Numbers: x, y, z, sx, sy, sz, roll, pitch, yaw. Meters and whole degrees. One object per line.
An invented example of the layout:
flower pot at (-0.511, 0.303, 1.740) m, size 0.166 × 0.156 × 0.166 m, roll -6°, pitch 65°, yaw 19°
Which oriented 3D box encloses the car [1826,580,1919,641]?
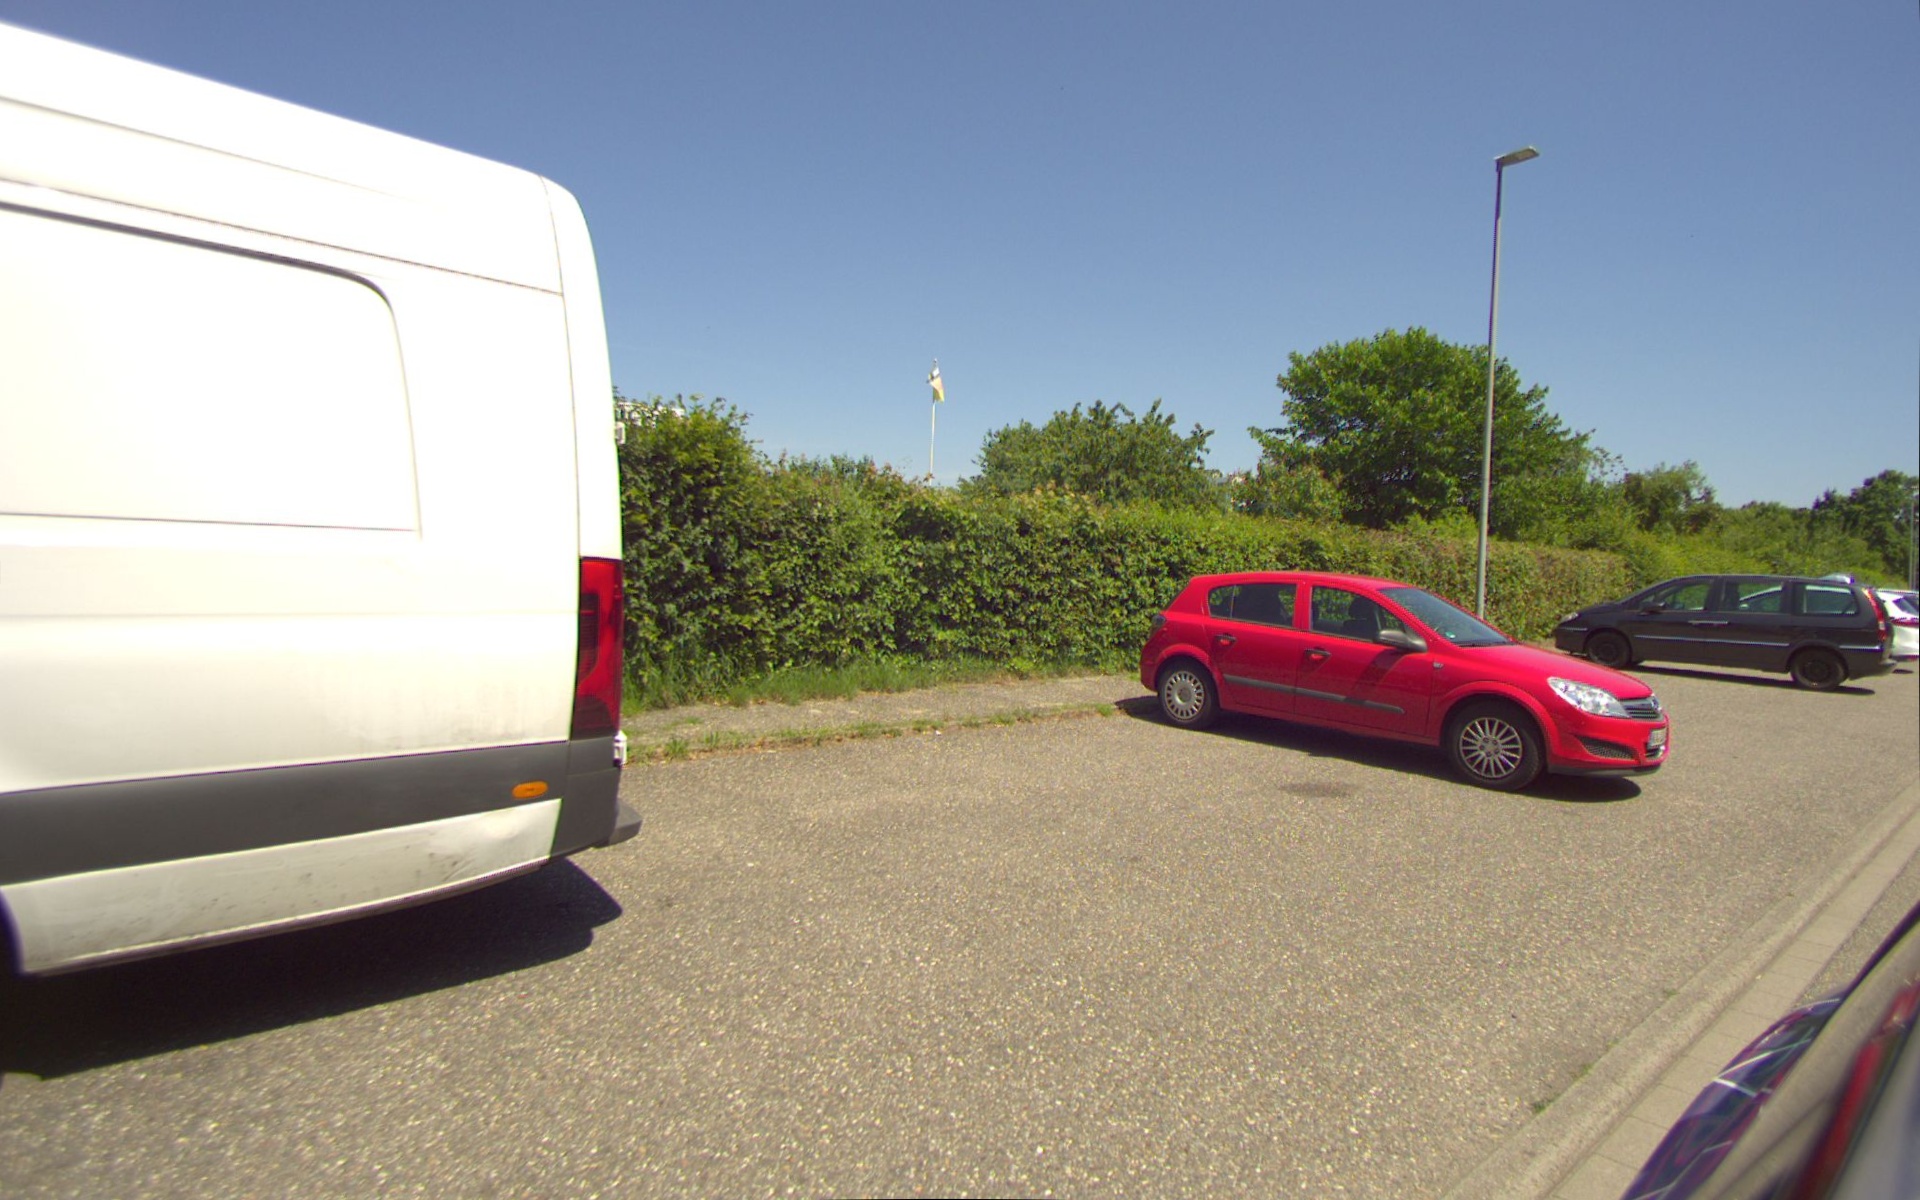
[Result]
car at (27.224, 0.377, 28.611) m, size 3.966 × 1.541 × 1.835 m, roll 8°, pitch 5°, yaw 44°

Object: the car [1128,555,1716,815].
car at (3.626, 0.480, 8.514) m, size 1.805 × 1.451 × 4.061 m, roll 1°, pitch 4°, yaw -43°

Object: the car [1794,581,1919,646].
car at (24.678, 0.368, 27.003) m, size 1.558 × 1.522 × 3.399 m, roll 1°, pitch 3°, yaw -37°

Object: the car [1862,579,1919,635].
car at (31.576, 0.339, 32.302) m, size 1.636 × 1.659 × 3.966 m, roll 0°, pitch 5°, yaw -44°

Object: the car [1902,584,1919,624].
car at (42.899, 0.302, 43.011) m, size 1.736 × 1.706 × 3.981 m, roll 0°, pitch 4°, yaw -41°

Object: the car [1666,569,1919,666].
car at (17.519, 0.296, 21.072) m, size 1.735 × 1.597 × 4.284 m, roll 1°, pitch 4°, yaw -42°

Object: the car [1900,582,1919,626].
car at (41.174, 0.301, 40.881) m, size 1.818 × 1.750 × 4.465 m, roll -1°, pitch 5°, yaw -40°

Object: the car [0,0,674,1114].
car at (-4.289, -0.284, 1.757) m, size 7.039 × 2.766 × 1.959 m, roll 1°, pitch 4°, yaw -40°

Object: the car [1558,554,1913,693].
car at (12.947, 0.269, 17.114) m, size 1.921 × 1.826 × 4.458 m, roll -1°, pitch 5°, yaw -44°
